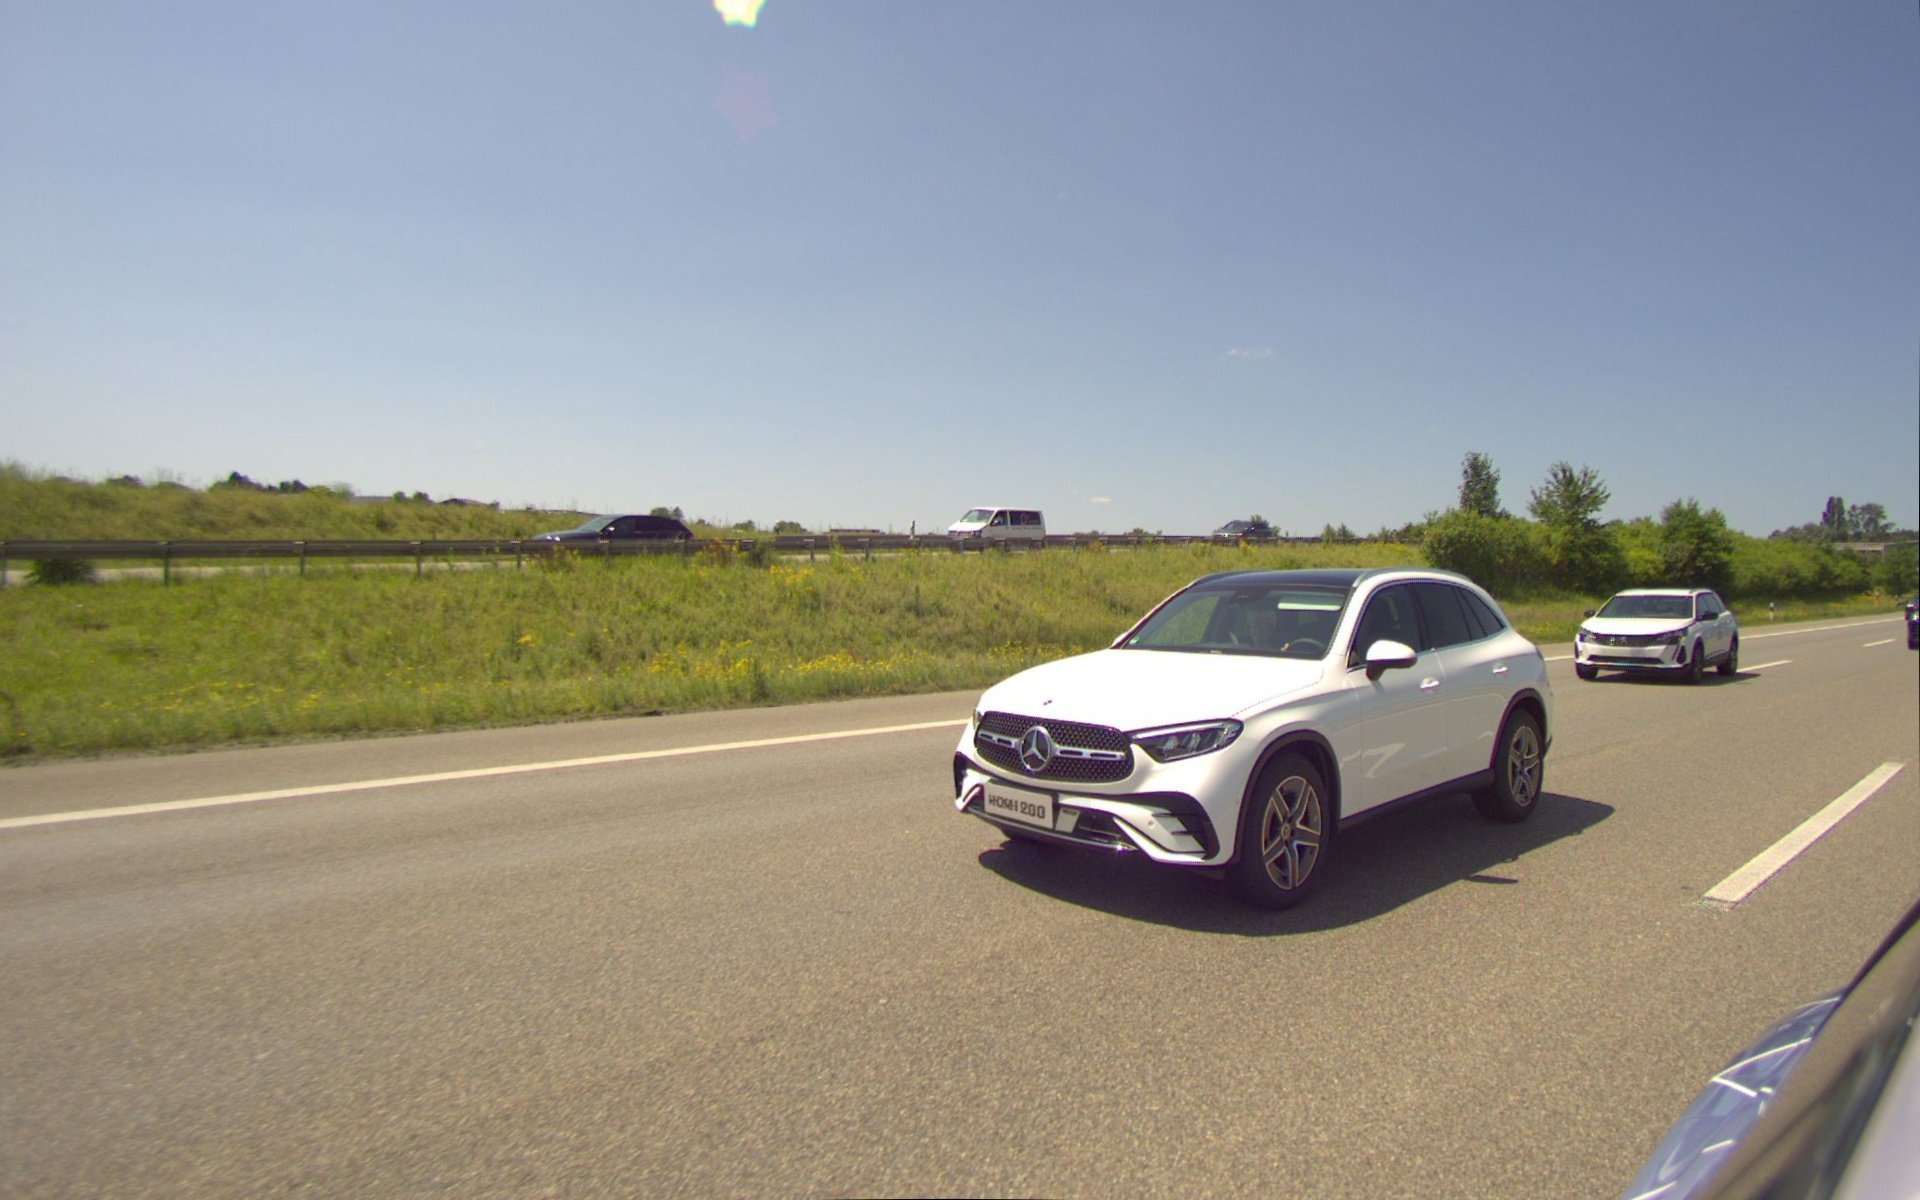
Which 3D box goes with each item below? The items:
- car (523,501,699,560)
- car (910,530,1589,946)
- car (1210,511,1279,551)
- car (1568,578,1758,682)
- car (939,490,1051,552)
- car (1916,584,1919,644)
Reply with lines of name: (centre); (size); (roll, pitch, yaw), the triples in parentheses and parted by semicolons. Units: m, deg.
car: (-9.629, -1.868, 28.135); (1.993, 1.400, 4.231); (1, 1, 42)
car: (2.064, 0.535, 6.308); (4.556, 1.677, 1.908); (-1, 0, -41)
car: (16.014, -3.828, 56.833); (3.935, 2.039, 1.994); (-2, 1, -44)
car: (13.047, 0.455, 18.669); (4.538, 1.650, 1.896); (-2, 1, -42)
car: (1.500, -3.152, 41.376); (1.992, 2.199, 4.819); (1, 1, 42)
car: (28.977, 0.351, 29.016); (4.539, 1.650, 1.980); (-2, 1, -43)
